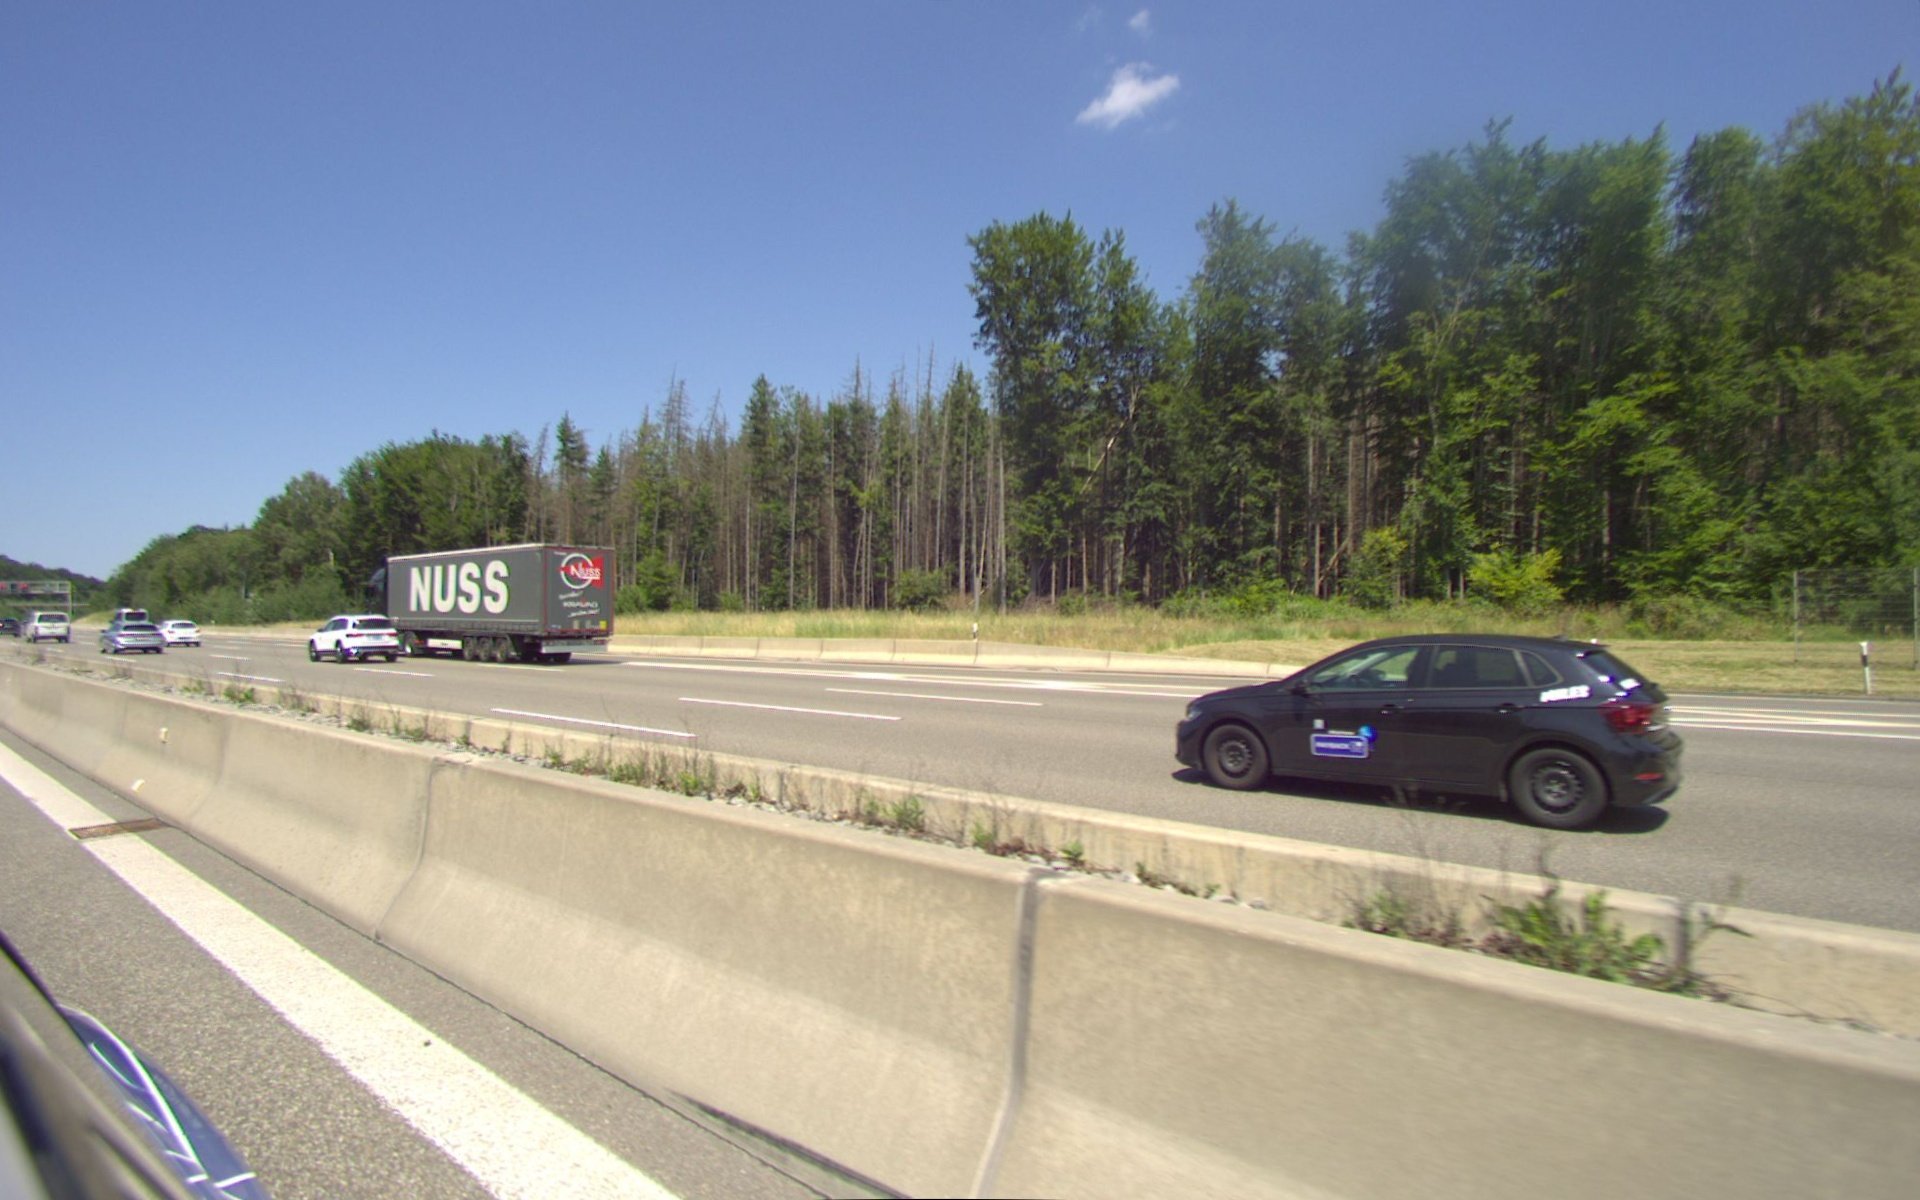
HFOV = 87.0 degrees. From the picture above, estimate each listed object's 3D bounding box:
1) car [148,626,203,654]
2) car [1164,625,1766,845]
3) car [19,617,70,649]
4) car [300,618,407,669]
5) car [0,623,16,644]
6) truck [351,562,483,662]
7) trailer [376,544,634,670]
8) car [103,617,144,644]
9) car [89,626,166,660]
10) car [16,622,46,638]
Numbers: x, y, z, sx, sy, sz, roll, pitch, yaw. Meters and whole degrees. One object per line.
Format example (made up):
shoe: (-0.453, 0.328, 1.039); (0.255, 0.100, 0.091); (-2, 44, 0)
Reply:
car: (-44.592, 2.266, 57.522); (3.809, 1.497, 1.785); (-1, -1, 42)
car: (4.108, 0.927, 8.679); (4.314, 1.398, 1.802); (-1, -1, 41)
car: (-60.137, 2.114, 66.465); (5.128, 2.029, 1.972); (-1, -1, 42)
car: (-21.802, 1.514, 36.317); (4.610, 1.683, 1.973); (-1, -2, 41)
car: (-83.236, 2.887, 87.618); (5.002, 1.712, 1.808); (-1, -2, 42)
truck: (-23.230, 0.515, 43.224); (5.536, 3.960, 3.253); (-1, -1, 41)
trailer: (-17.694, 0.357, 38.404); (14.272, 4.032, 3.307); (-1, -1, 41)
car: (-78.911, 2.859, 95.461); (6.341, 2.431, 1.928); (-1, -2, 41)
car: (-37.487, 1.898, 45.538); (5.009, 1.387, 1.972); (-1, -1, 42)
car: (-91.223, 2.929, 99.358); (4.671, 1.582, 1.711); (-1, -2, 42)
